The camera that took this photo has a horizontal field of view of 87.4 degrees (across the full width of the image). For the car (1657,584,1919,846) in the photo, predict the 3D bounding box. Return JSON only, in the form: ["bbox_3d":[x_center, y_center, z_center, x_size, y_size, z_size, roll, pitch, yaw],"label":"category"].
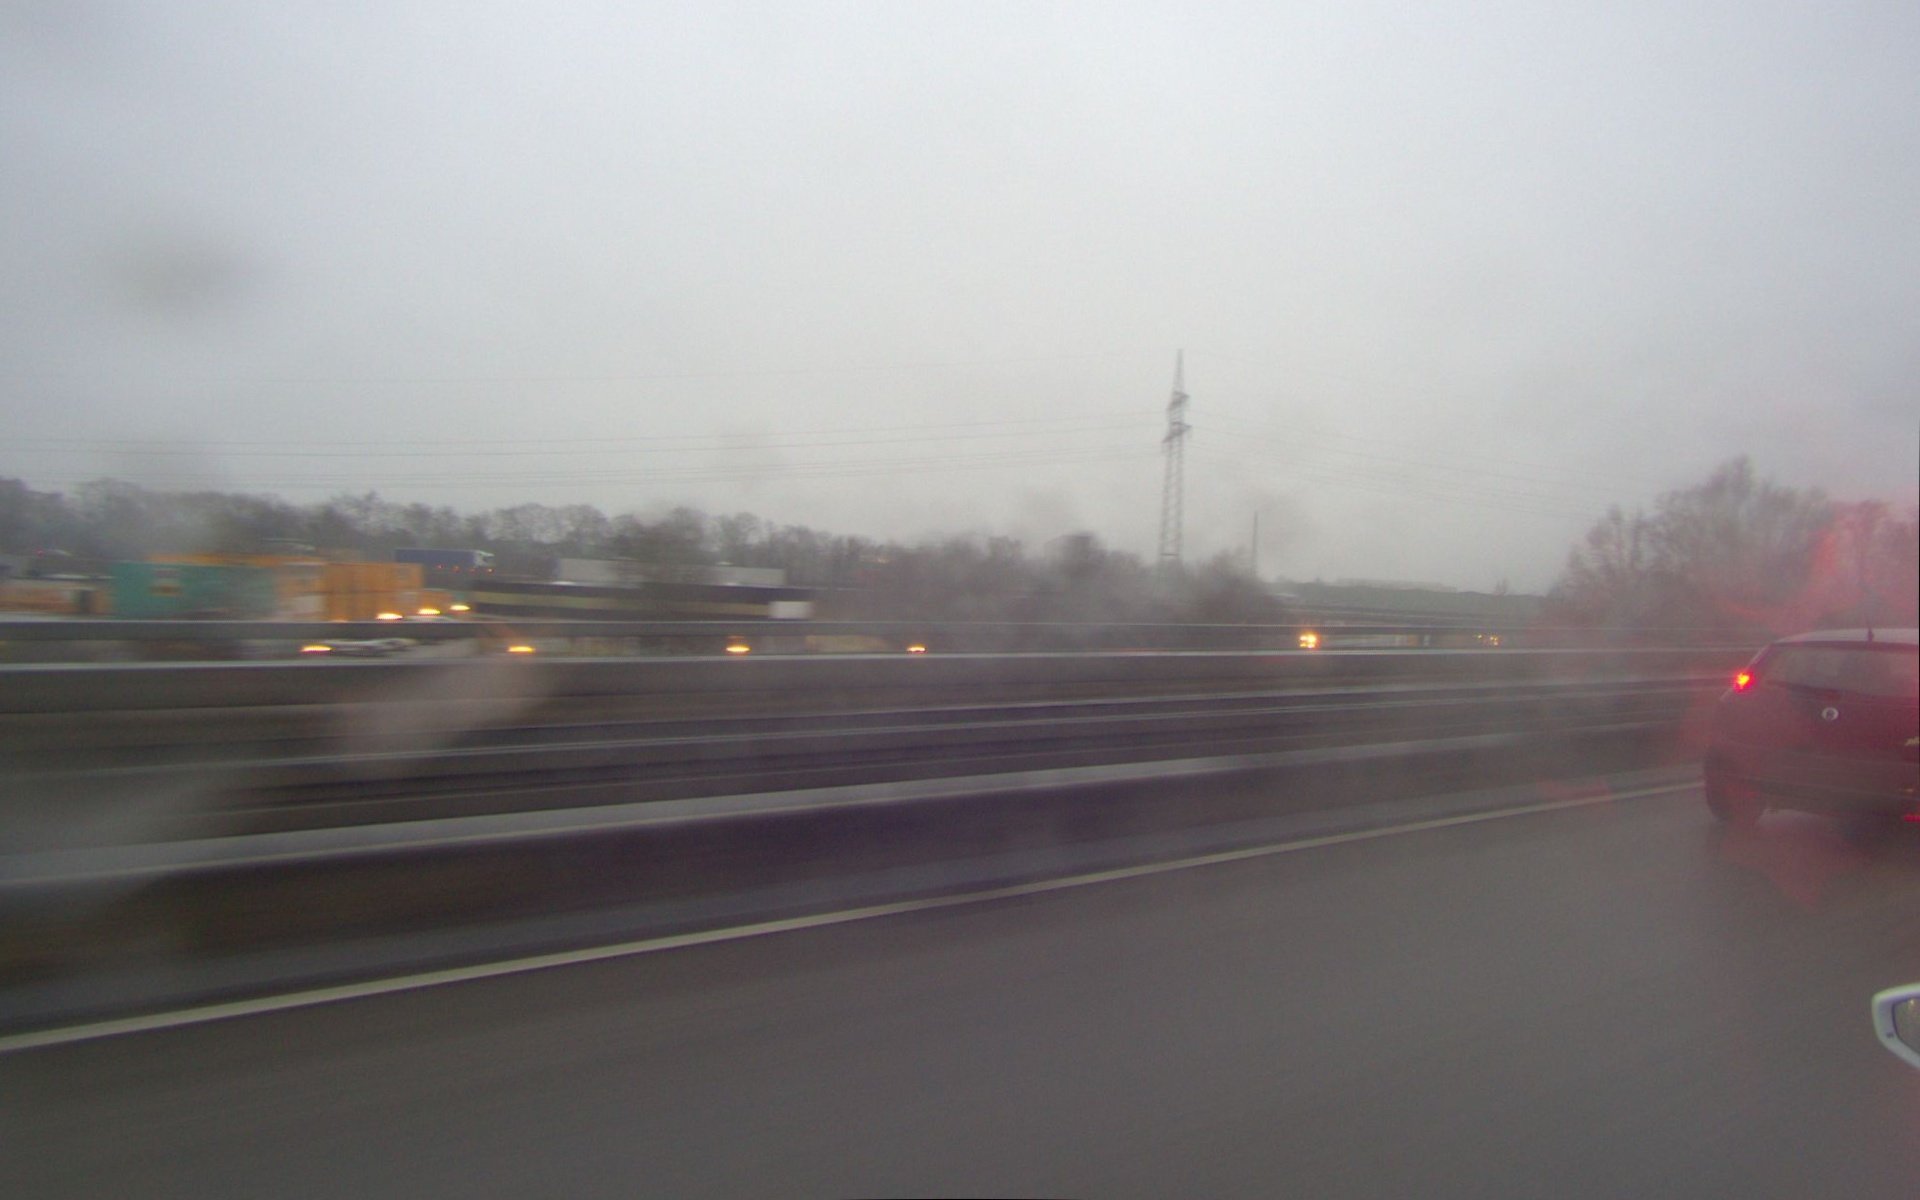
[{"bbox_3d":[7.164,0.797,7.418,3.994,1.553,1.722,4,-1,-29],"label":"car"}]
